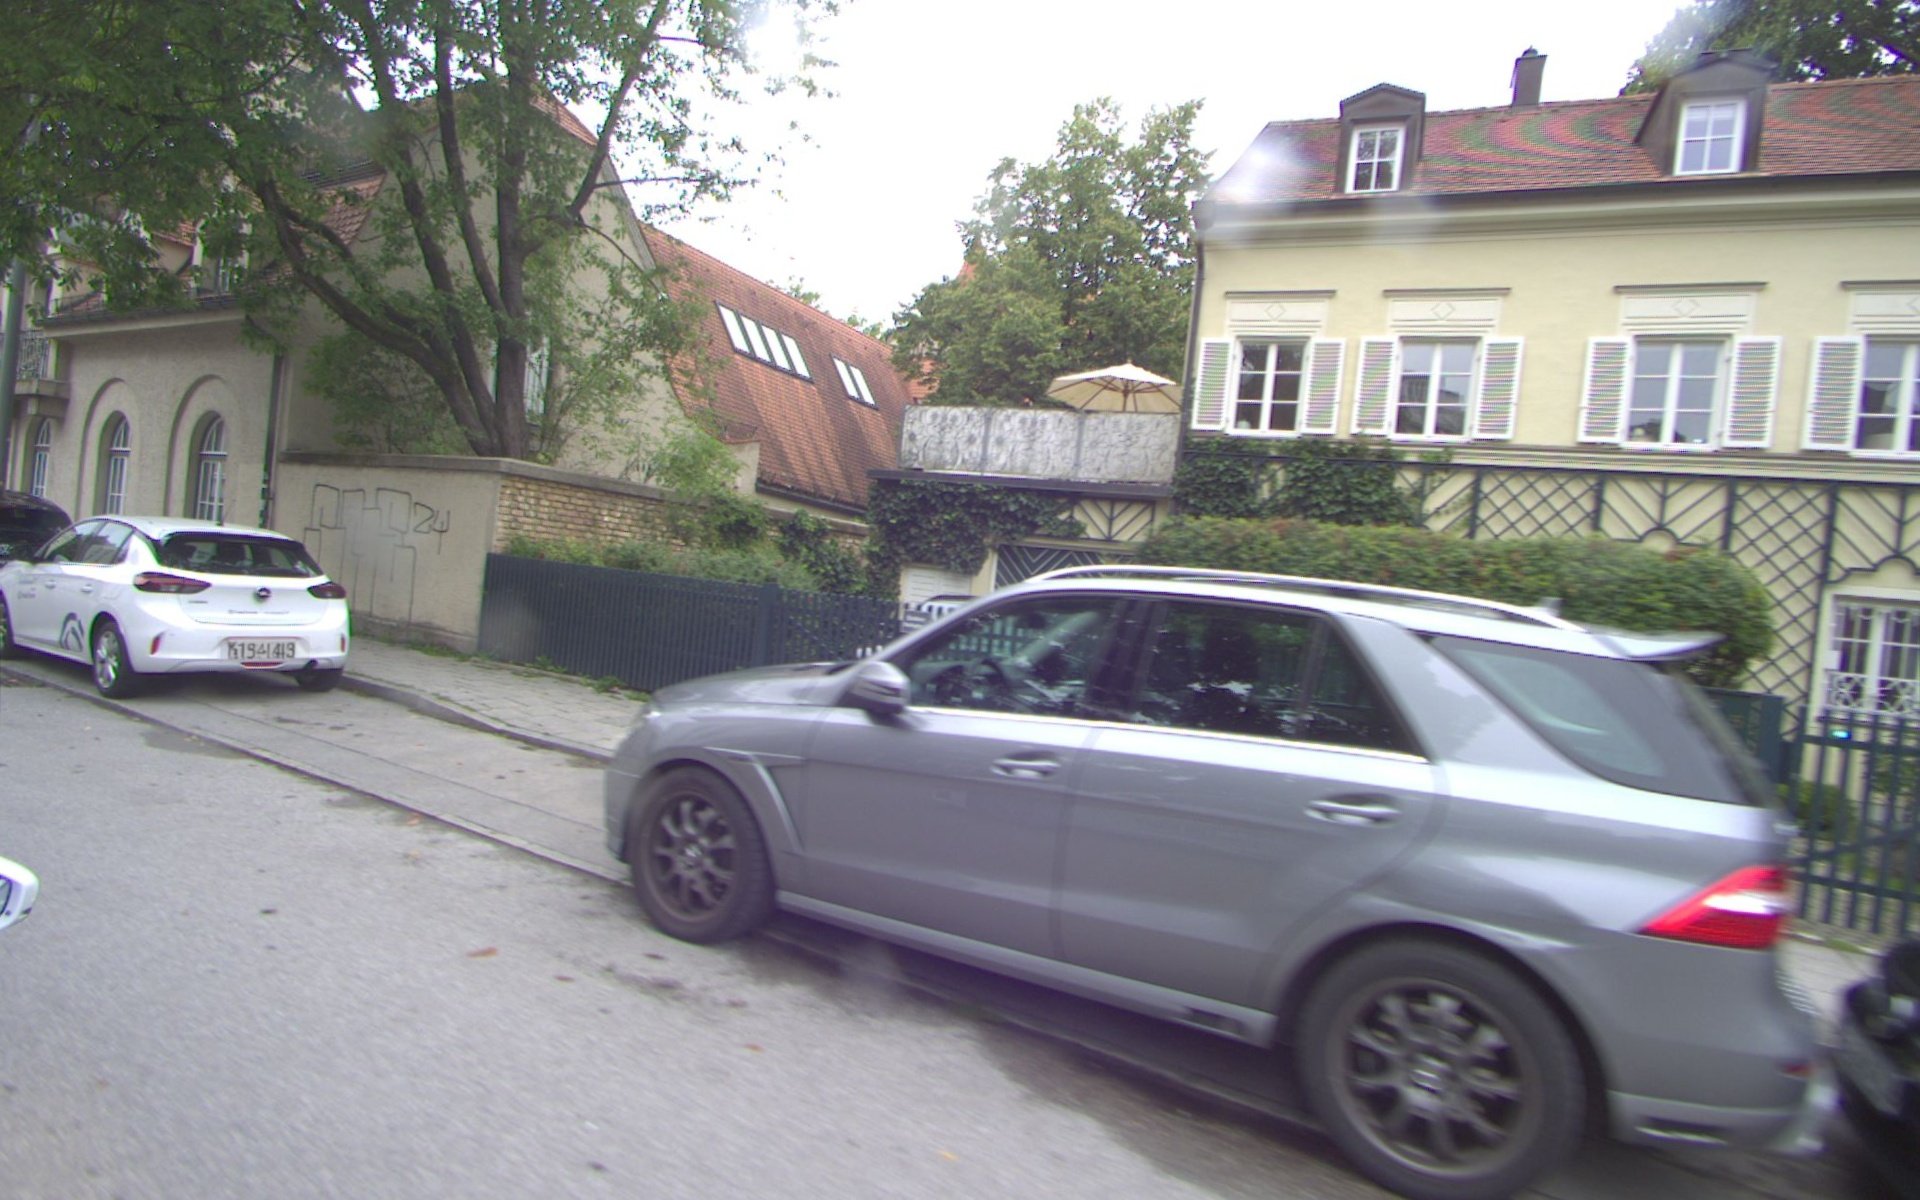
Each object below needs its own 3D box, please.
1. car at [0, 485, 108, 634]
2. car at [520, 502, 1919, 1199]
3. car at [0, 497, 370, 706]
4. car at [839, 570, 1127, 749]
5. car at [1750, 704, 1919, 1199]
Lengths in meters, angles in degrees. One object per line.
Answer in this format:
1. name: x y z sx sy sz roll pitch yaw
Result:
1. car: -11.816 -0.612 11.673 4.169 1.558 1.707 7 2 32
2. car: 0.615 0.687 4.348 4.800 1.734 1.996 7 2 28
3. car: -7.405 -0.068 9.260 3.934 1.460 1.686 6 1 32
4. car: 0.467 0.600 11.485 1.650 1.520 4.079 7 1 25
5. car: 4.532 1.299 2.079 4.149 1.446 1.879 7 2 28
